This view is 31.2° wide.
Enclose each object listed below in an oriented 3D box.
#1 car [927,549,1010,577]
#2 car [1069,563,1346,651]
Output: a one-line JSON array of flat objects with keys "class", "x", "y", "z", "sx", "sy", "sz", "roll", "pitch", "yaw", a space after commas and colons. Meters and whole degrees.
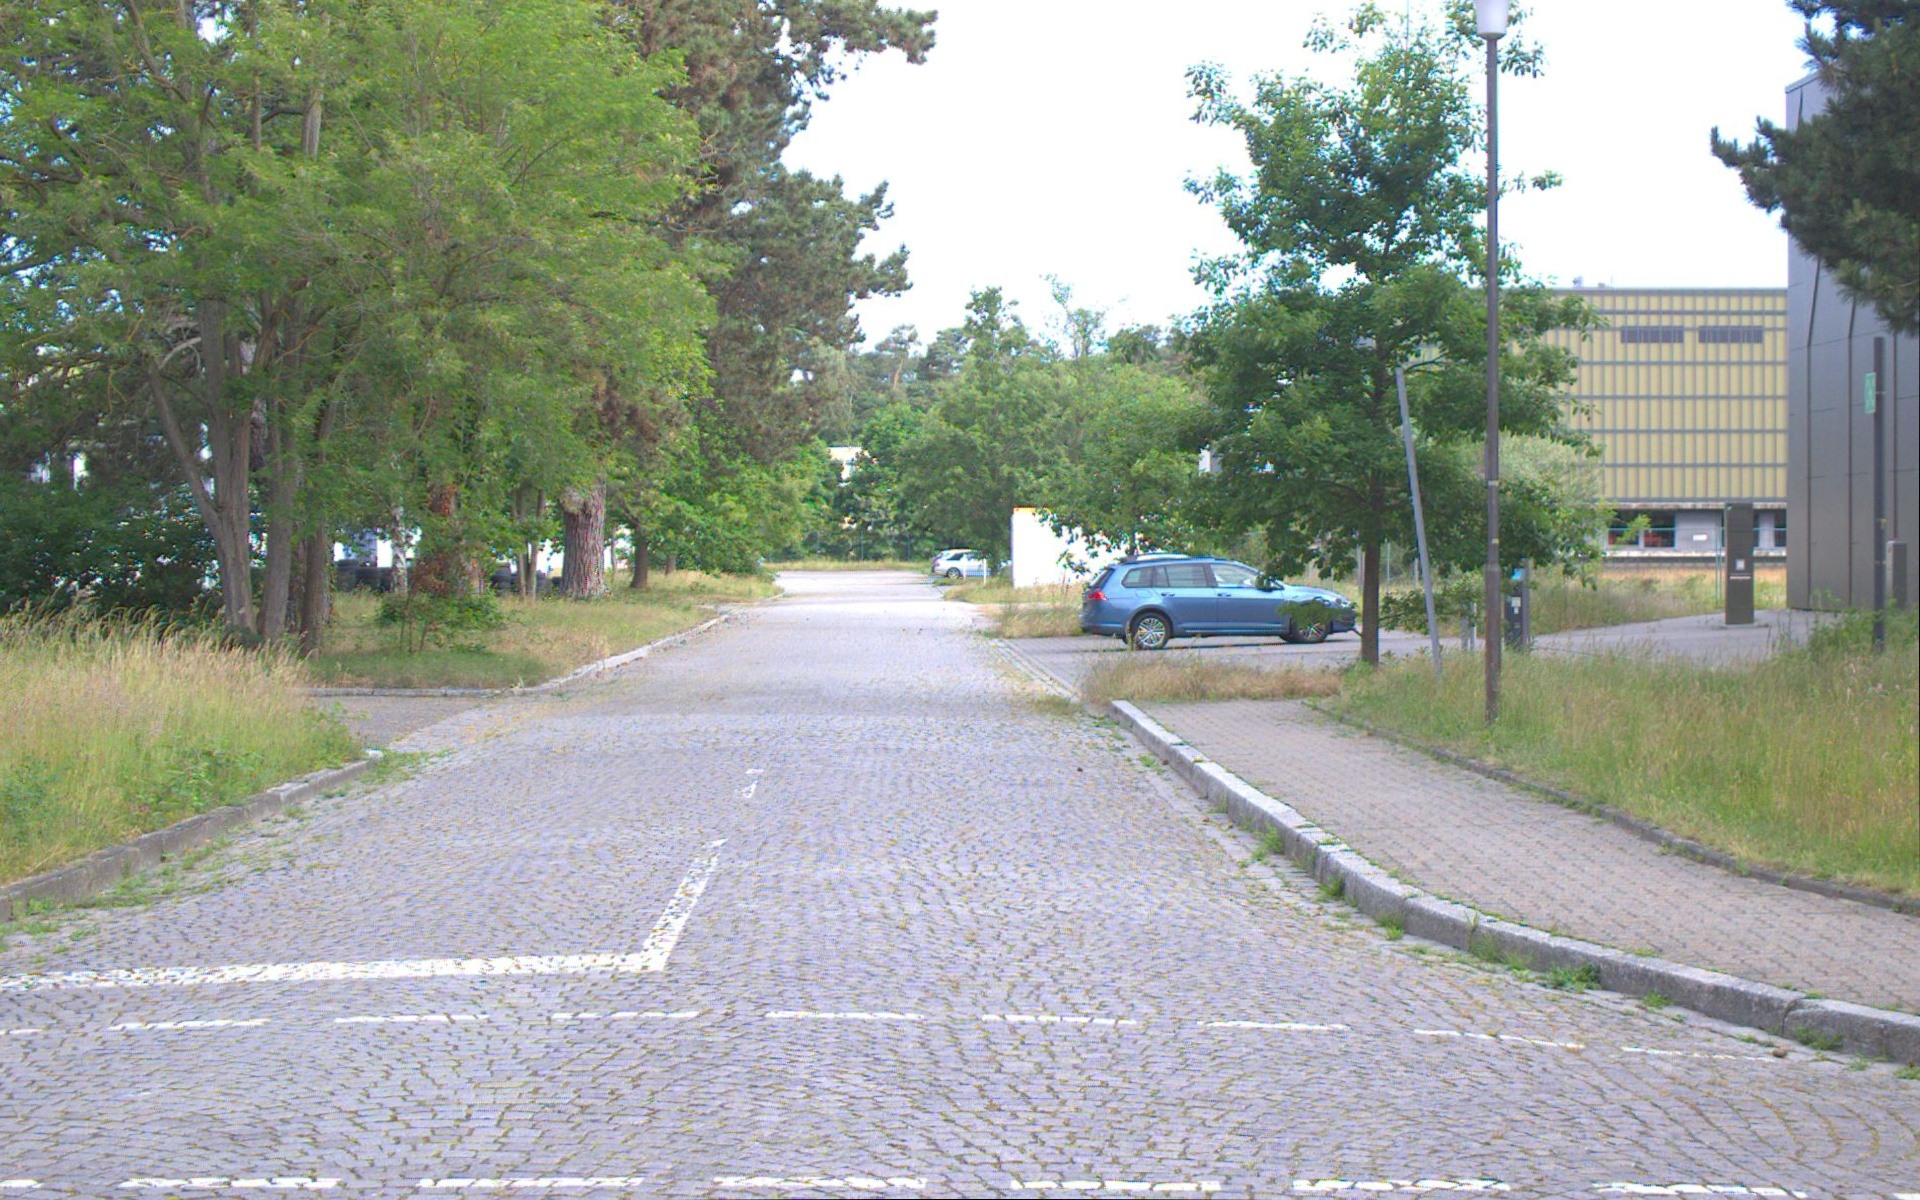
[{"class": "car", "x": 0.397, "y": -1.859, "z": 173.906, "sx": 3.986, "sy": 1.393, "sz": 2.000, "roll": 0, "pitch": 1, "yaw": -7}, {"class": "car", "x": 4.061, "y": 0.104, "z": 56.876, "sx": 4.343, "sy": 1.417, "sz": 2.000, "roll": 0, "pitch": 1, "yaw": -3}]
